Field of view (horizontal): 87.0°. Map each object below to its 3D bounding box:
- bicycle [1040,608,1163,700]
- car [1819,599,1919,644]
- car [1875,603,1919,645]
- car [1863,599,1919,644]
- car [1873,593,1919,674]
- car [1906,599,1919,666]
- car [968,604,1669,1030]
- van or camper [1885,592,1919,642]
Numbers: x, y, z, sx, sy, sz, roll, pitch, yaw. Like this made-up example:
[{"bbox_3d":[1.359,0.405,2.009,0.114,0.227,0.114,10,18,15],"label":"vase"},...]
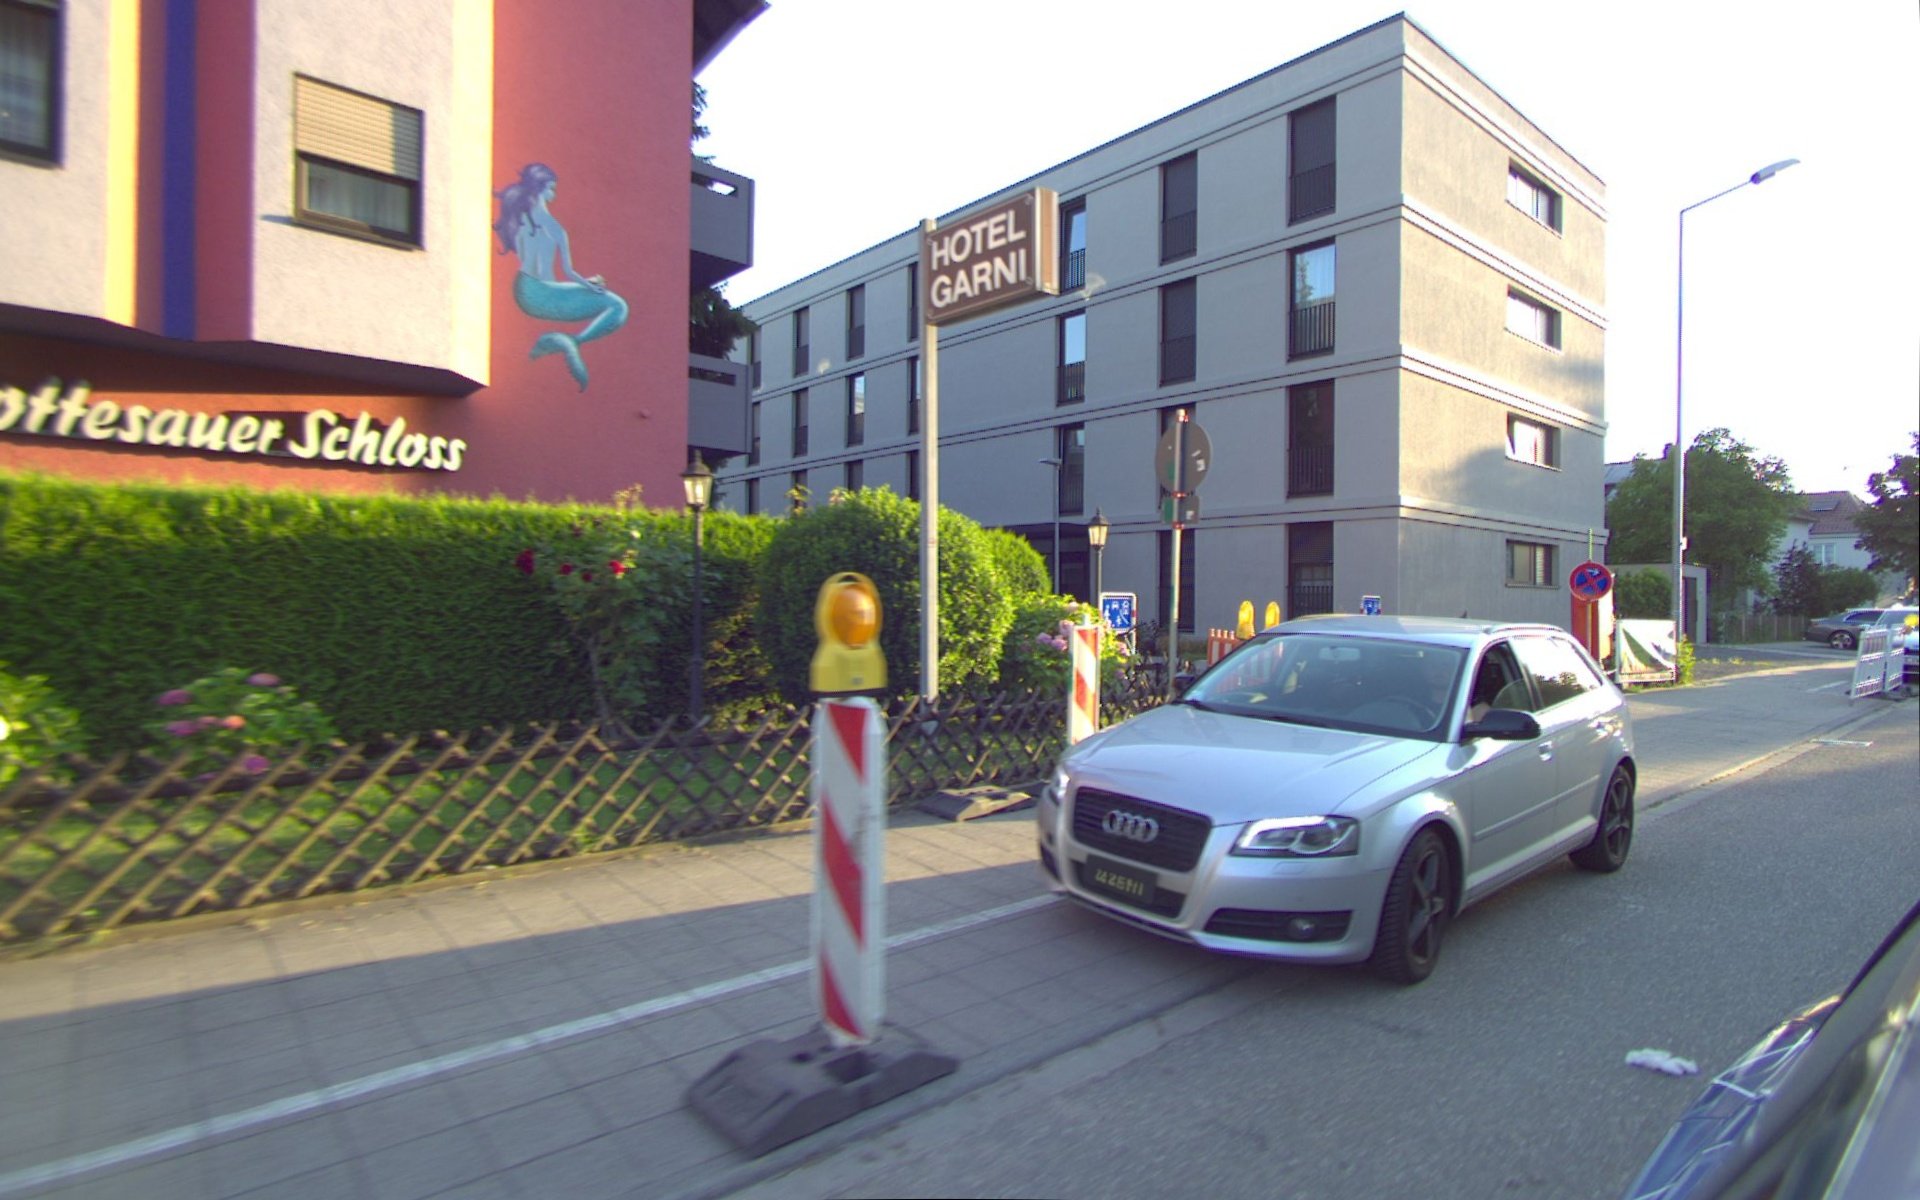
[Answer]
[{"bbox_3d":[1.801,0.661,13.188,0.437,1.083,1.900,1,0,-33],"label":"bicycle"},{"bbox_3d":[31.956,0.747,33.741,1.738,1.415,4.830,1,1,-39],"label":"car"},{"bbox_3d":[37.599,0.931,38.590,1.600,1.563,3.839,1,0,-41],"label":"car"},{"bbox_3d":[34.511,0.794,35.420,1.737,1.520,4.068,1,1,-37],"label":"car"},{"bbox_3d":[19.233,0.632,19.843,3.928,1.488,1.616,1,0,-43],"label":"car"},{"bbox_3d":[23.220,0.739,23.353,3.778,1.488,1.799,1,0,-43],"label":"car"},{"bbox_3d":[2.139,0.744,5.405,4.035,1.414,1.779,1,0,-41],"label":"car"},{"bbox_3d":[39.682,0.677,39.852,2.059,1.978,4.653,1,0,-42],"label":"van or camper"}]
